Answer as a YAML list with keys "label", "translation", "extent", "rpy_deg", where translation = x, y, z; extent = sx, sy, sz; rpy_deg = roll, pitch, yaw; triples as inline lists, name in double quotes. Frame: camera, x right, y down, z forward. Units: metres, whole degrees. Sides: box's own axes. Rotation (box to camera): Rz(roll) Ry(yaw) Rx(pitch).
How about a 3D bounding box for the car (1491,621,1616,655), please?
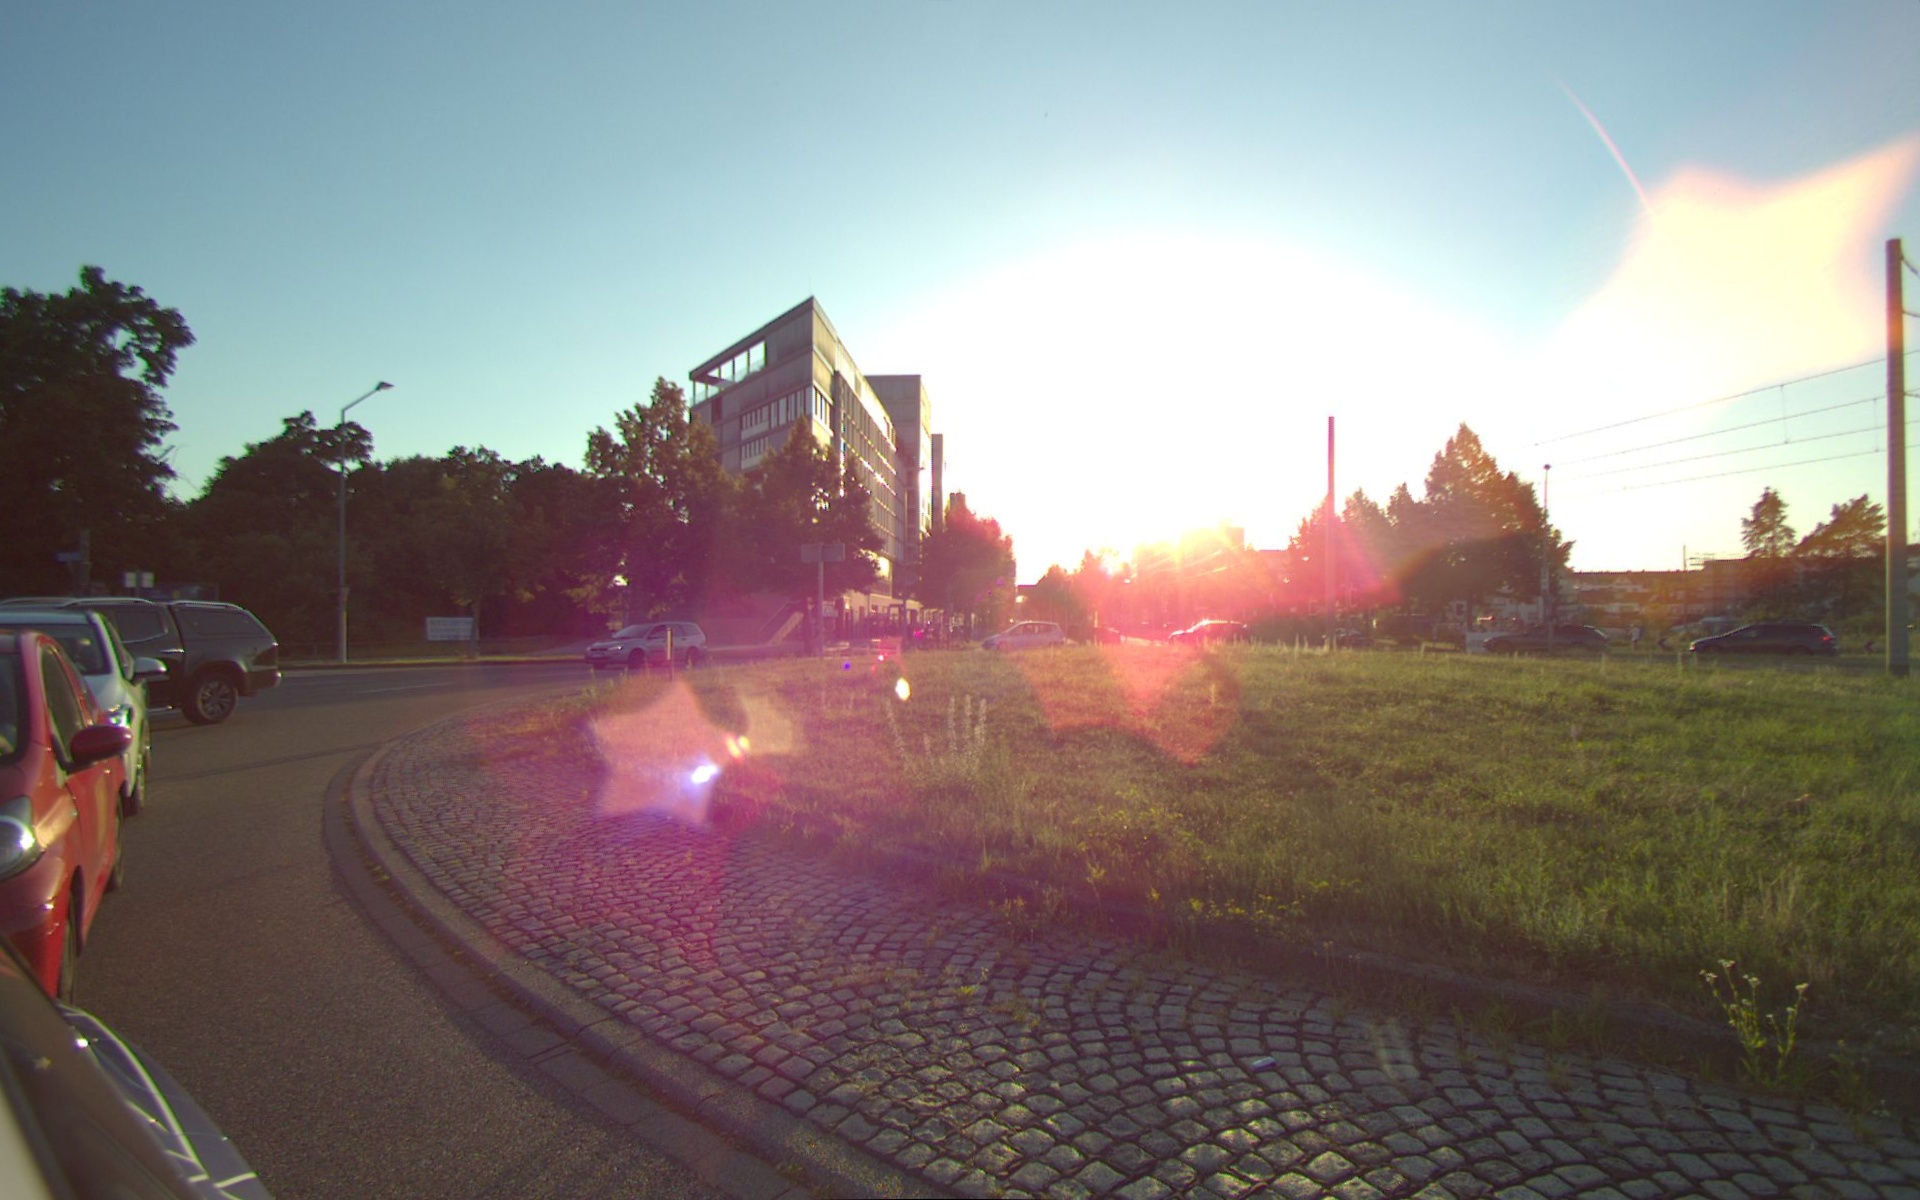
- label: "car"
  translation: [25.387, 1.606, 43.331]
  extent: [4.349, 1.386, 1.973]
  rpy_deg: [-1, -2, 40]

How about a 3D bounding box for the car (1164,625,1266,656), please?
- label: "car"
  translation: [12.056, 1.901, 47.990]
  extent: [4.325, 1.386, 1.999]
  rpy_deg: [0, -1, 2]

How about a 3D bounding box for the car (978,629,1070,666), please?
- label: "car"
  translation: [2.922, 2.158, 46.658]
  extent: [3.827, 1.592, 1.960]
  rpy_deg: [0, -1, -14]

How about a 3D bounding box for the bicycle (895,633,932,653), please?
- label: "bicycle"
  translation: [-2.886, 2.682, 62.967]
  extent: [2.315, 1.254, 0.742]
  rpy_deg: [0, -1, 0]

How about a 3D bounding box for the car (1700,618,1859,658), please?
- label: "car"
  translation: [30.638, 1.388, 37.923]
  extent: [1.969, 1.386, 4.389]
  rpy_deg: [1, -2, -42]

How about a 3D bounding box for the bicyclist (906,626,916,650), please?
- label: "bicyclist"
  translation: [-3.067, 2.358, 62.989]
  extent: [0.602, 1.451, 0.692]
  rpy_deg: [0, -1, -2]

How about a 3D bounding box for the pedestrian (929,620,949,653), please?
- label: "pedestrian"
  translation: [-1.344, 2.312, 64.626]
  extent: [0.995, 2.029, 0.768]
  rpy_deg: [-1, 0, 29]

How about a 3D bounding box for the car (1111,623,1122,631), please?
- label: "car"
  translation: [35.943, 6.160, 232.706]
  extent: [1.972, 1.737, 4.000]
  rpy_deg: [-1, 0, 0]

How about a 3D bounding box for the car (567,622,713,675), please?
- label: "car"
  translation: [-10.233, 1.506, 32.698]
  extent: [1.825, 1.571, 4.524]
  rpy_deg: [-1, -1, 28]

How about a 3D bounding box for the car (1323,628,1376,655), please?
- label: "car"
  translation: [25.620, 2.700, 66.700]
  extent: [1.972, 1.663, 3.999]
  rpy_deg: [0, -1, 0]

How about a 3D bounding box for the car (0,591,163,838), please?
- label: "car"
  translation: [-7.739, 0.788, 8.178]
  extent: [1.968, 1.618, 4.207]
  rpy_deg: [1, -2, -38]

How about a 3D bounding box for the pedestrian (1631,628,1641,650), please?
- label: "pedestrian"
  translation: [39.598, 2.288, 59.292]
  extent: [0.397, 1.318, 0.423]
  rpy_deg: [-1, -2, 41]

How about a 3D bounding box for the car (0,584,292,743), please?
- label: "car"
  translation: [-11.752, 0.815, 13.155]
  extent: [1.979, 1.827, 5.285]
  rpy_deg: [-2, -3, 12]

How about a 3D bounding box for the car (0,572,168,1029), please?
- label: "car"
  translation: [-4.698, 0.665, 4.447]
  extent: [1.661, 1.431, 4.010]
  rpy_deg: [1, -1, -35]
